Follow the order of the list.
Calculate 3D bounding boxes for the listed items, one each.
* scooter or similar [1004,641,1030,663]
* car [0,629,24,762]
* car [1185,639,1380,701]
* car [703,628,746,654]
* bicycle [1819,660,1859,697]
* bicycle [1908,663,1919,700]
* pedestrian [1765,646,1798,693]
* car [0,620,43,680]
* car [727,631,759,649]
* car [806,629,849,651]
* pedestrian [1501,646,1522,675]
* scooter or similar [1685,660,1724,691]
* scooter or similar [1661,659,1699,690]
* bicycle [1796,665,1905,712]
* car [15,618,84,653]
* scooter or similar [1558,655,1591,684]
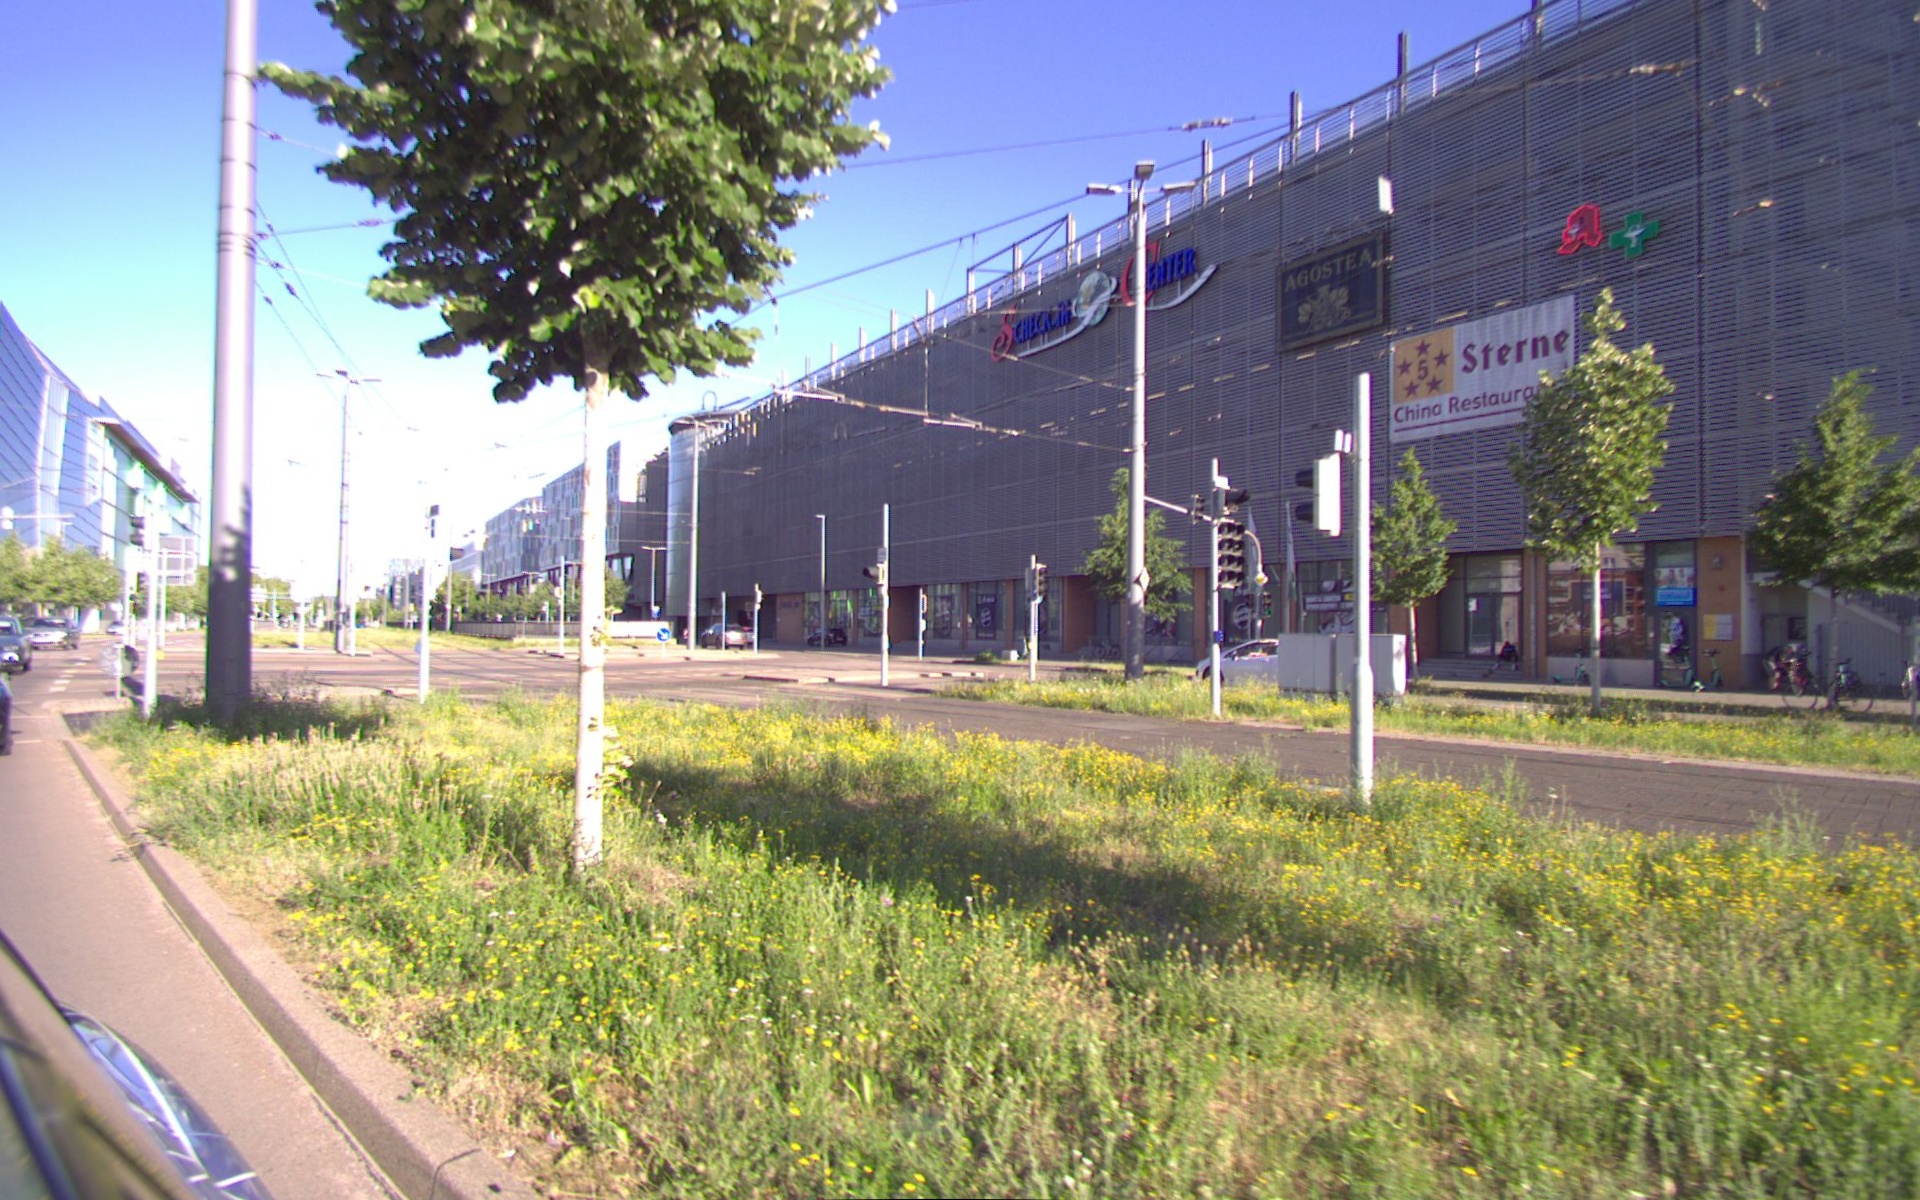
[{"bbox_3d":[2.816,2.548,49.979,0.430,1.050,1.363,1,-1,-45],"label":"scooter or similar"},{"bbox_3d":[-12.108,1.057,11.705,1.664,1.444,4.159,2,-2,-40],"label":"car"},{"bbox_3d":[7.898,1.688,25.177,1.782,1.338,4.414,3,-3,-37],"label":"car"},{"bbox_3d":[-15.121,2.609,64.846,1.780,1.587,4.308,2,-2,-25],"label":"car"},{"bbox_3d":[23.681,2.101,27.260,1.377,0.933,0.463,2,-2,-33],"label":"bicycle"},{"bbox_3d":[25.246,2.125,26.388,1.377,0.933,0.463,2,-2,-33],"label":"bicycle"},{"bbox_3d":[23.211,1.956,28.597,0.442,1.299,0.631,2,-2,-37],"label":"pedestrian"},{"bbox_3d":[-25.953,1.291,26.980,1.721,1.516,3.890,2,-2,-35],"label":"car"},{"bbox_3d":[-17.687,3.267,82.455,1.663,1.382,3.602,1,-2,-26],"label":"car"},{"bbox_3d":[-10.087,3.033,76.939,1.559,1.541,3.758,0,-1,-38],"label":"car"},{"bbox_3d":[20.124,2.199,36.941,0.557,1.046,0.425,1,-2,-27],"label":"pedestrian"},{"bbox_3d":[22.075,2.234,30.020,0.889,0.900,0.290,0,-2,4],"label":"scooter or similar"},{"bbox_3d":[21.954,2.268,30.862,0.890,0.900,0.290,0,-2,7],"label":"scooter or similar"},{"bbox_3d":[19.871,1.958,22.613,0.380,0.930,1.775,2,-2,-37],"label":"bicycle"},{"bbox_3d":[-39.482,1.534,43.963,1.594,1.440,3.777,2,-2,-33],"label":"car"},{"bbox_3d":[20.344,2.297,33.507,0.286,0.900,0.904,2,-2,-33],"label":"scooter or similar"}]
